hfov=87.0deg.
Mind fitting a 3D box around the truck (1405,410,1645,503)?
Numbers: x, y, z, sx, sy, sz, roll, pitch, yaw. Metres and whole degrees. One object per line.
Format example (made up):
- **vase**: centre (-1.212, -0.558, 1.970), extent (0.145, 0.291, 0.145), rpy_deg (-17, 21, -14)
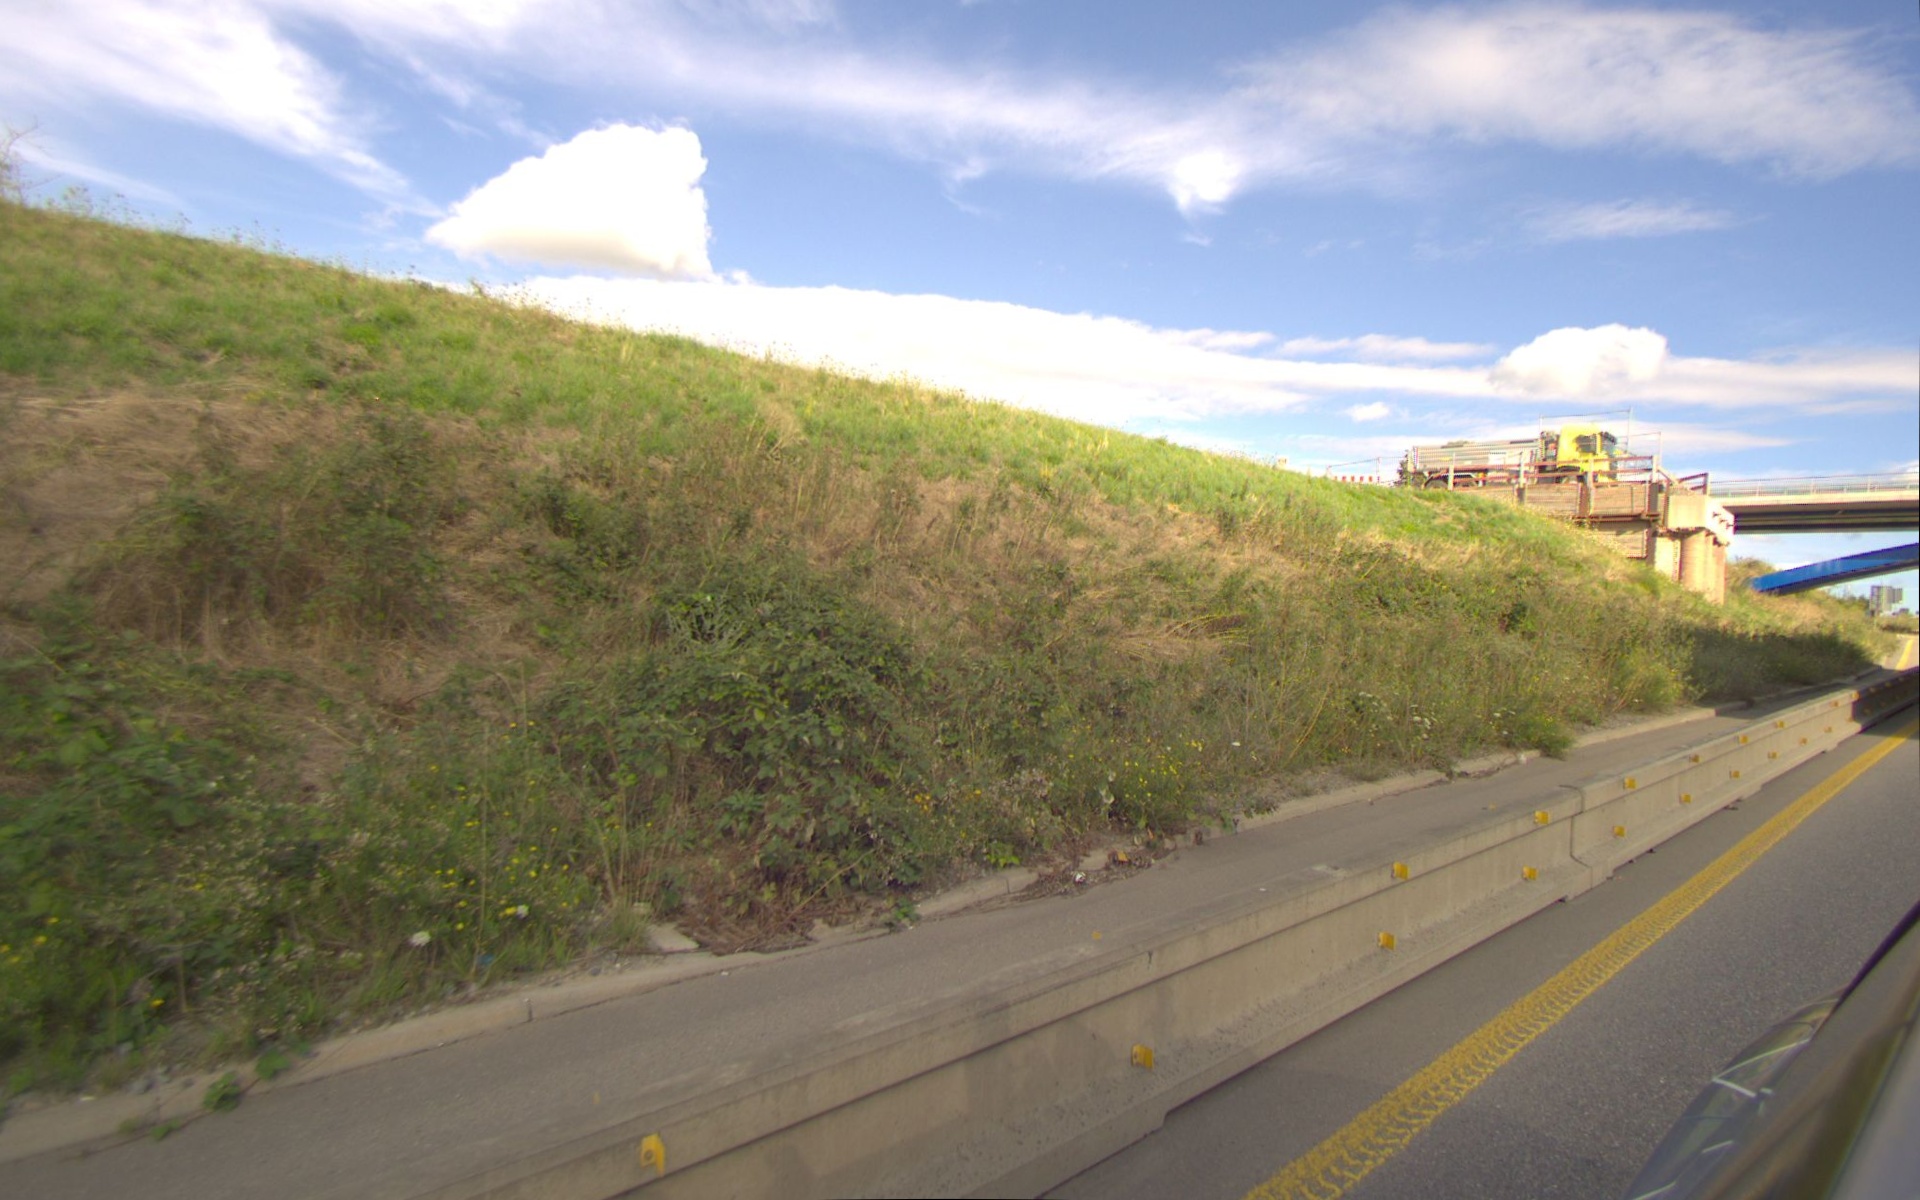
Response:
- **truck**: centre (25.895, -6.447, 46.912), extent (2.910, 3.268, 9.272), rpy_deg (1, 0, -44)
